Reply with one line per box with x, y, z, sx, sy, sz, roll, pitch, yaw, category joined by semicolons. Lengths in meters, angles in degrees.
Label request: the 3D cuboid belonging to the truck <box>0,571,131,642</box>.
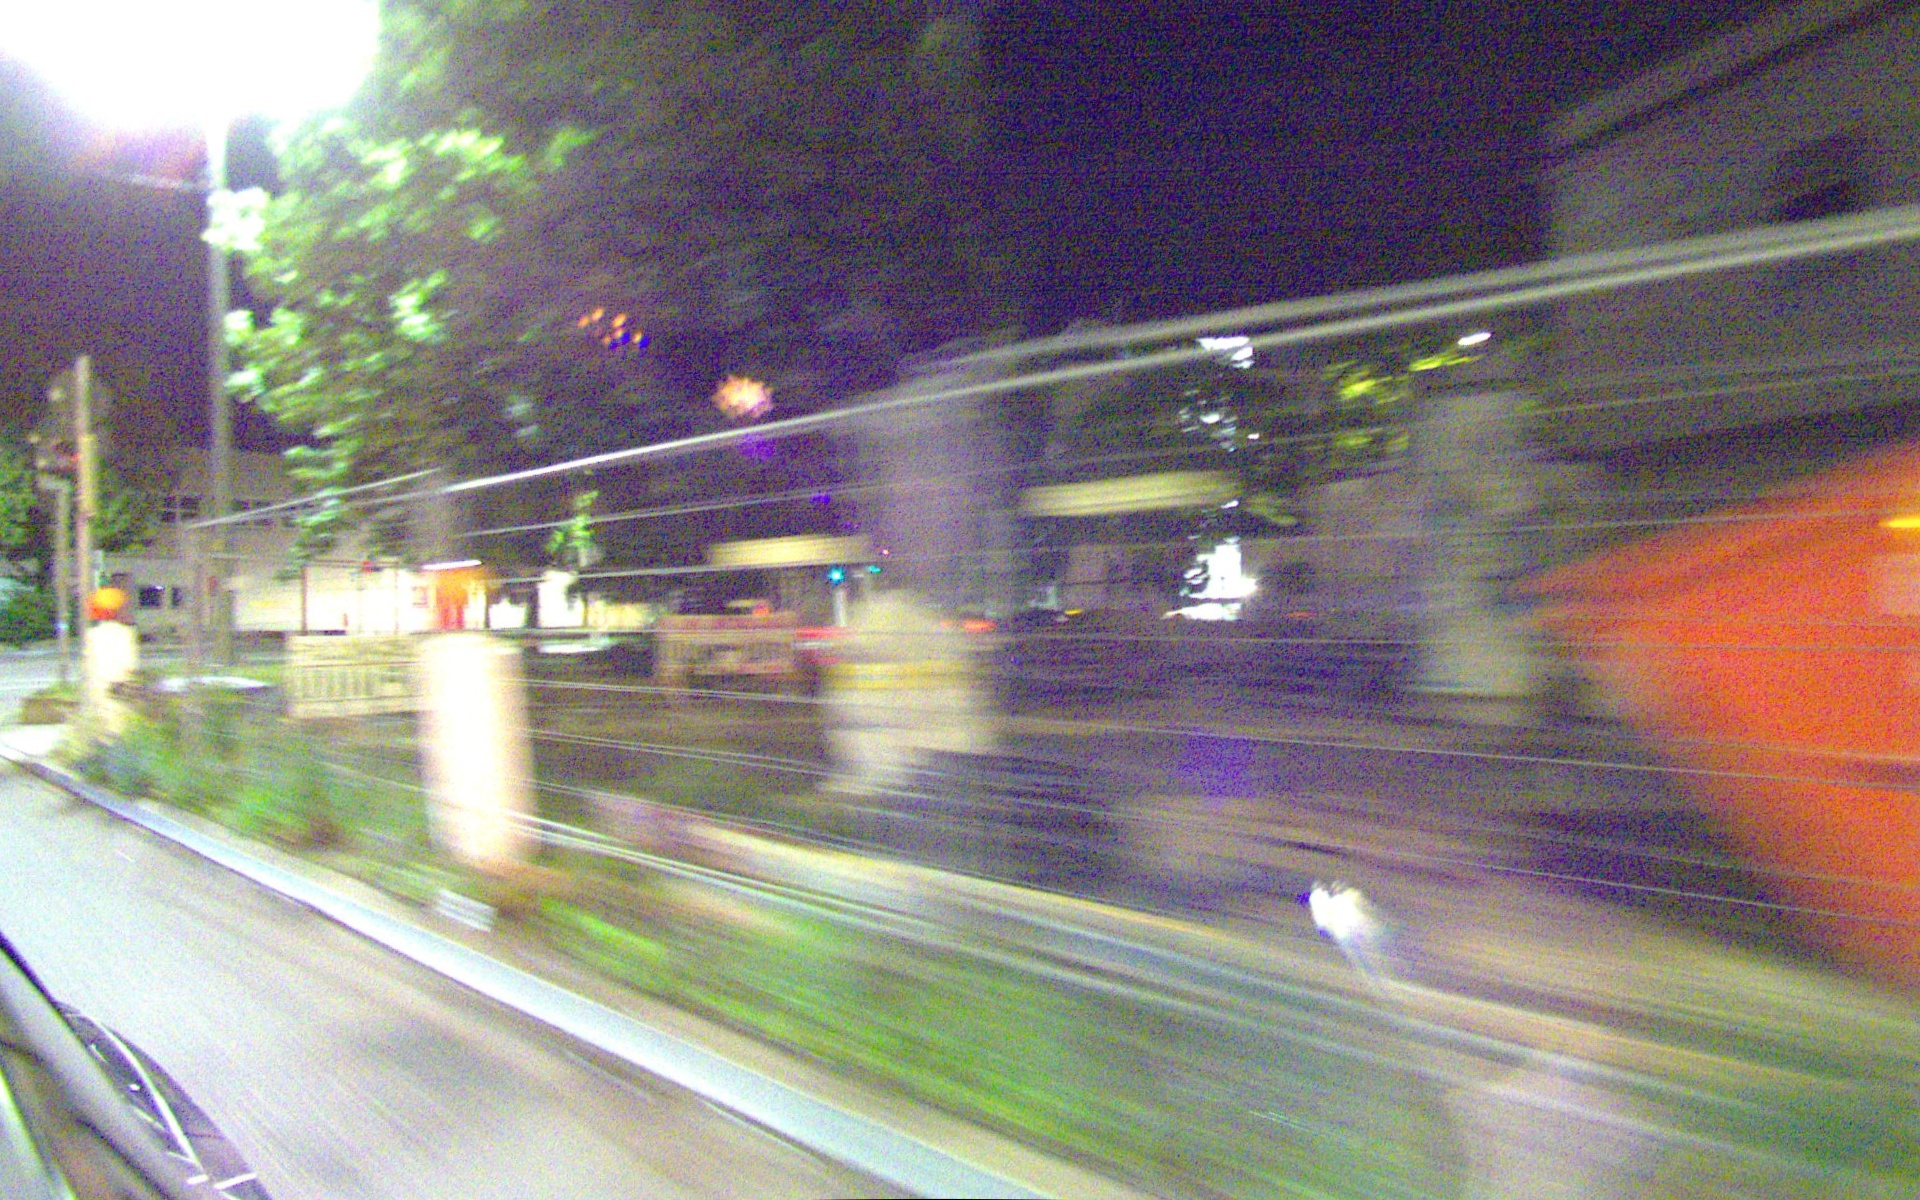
-49.714;0.349;55.836;6.108;3.721;2.406;0;0;-39;truck
